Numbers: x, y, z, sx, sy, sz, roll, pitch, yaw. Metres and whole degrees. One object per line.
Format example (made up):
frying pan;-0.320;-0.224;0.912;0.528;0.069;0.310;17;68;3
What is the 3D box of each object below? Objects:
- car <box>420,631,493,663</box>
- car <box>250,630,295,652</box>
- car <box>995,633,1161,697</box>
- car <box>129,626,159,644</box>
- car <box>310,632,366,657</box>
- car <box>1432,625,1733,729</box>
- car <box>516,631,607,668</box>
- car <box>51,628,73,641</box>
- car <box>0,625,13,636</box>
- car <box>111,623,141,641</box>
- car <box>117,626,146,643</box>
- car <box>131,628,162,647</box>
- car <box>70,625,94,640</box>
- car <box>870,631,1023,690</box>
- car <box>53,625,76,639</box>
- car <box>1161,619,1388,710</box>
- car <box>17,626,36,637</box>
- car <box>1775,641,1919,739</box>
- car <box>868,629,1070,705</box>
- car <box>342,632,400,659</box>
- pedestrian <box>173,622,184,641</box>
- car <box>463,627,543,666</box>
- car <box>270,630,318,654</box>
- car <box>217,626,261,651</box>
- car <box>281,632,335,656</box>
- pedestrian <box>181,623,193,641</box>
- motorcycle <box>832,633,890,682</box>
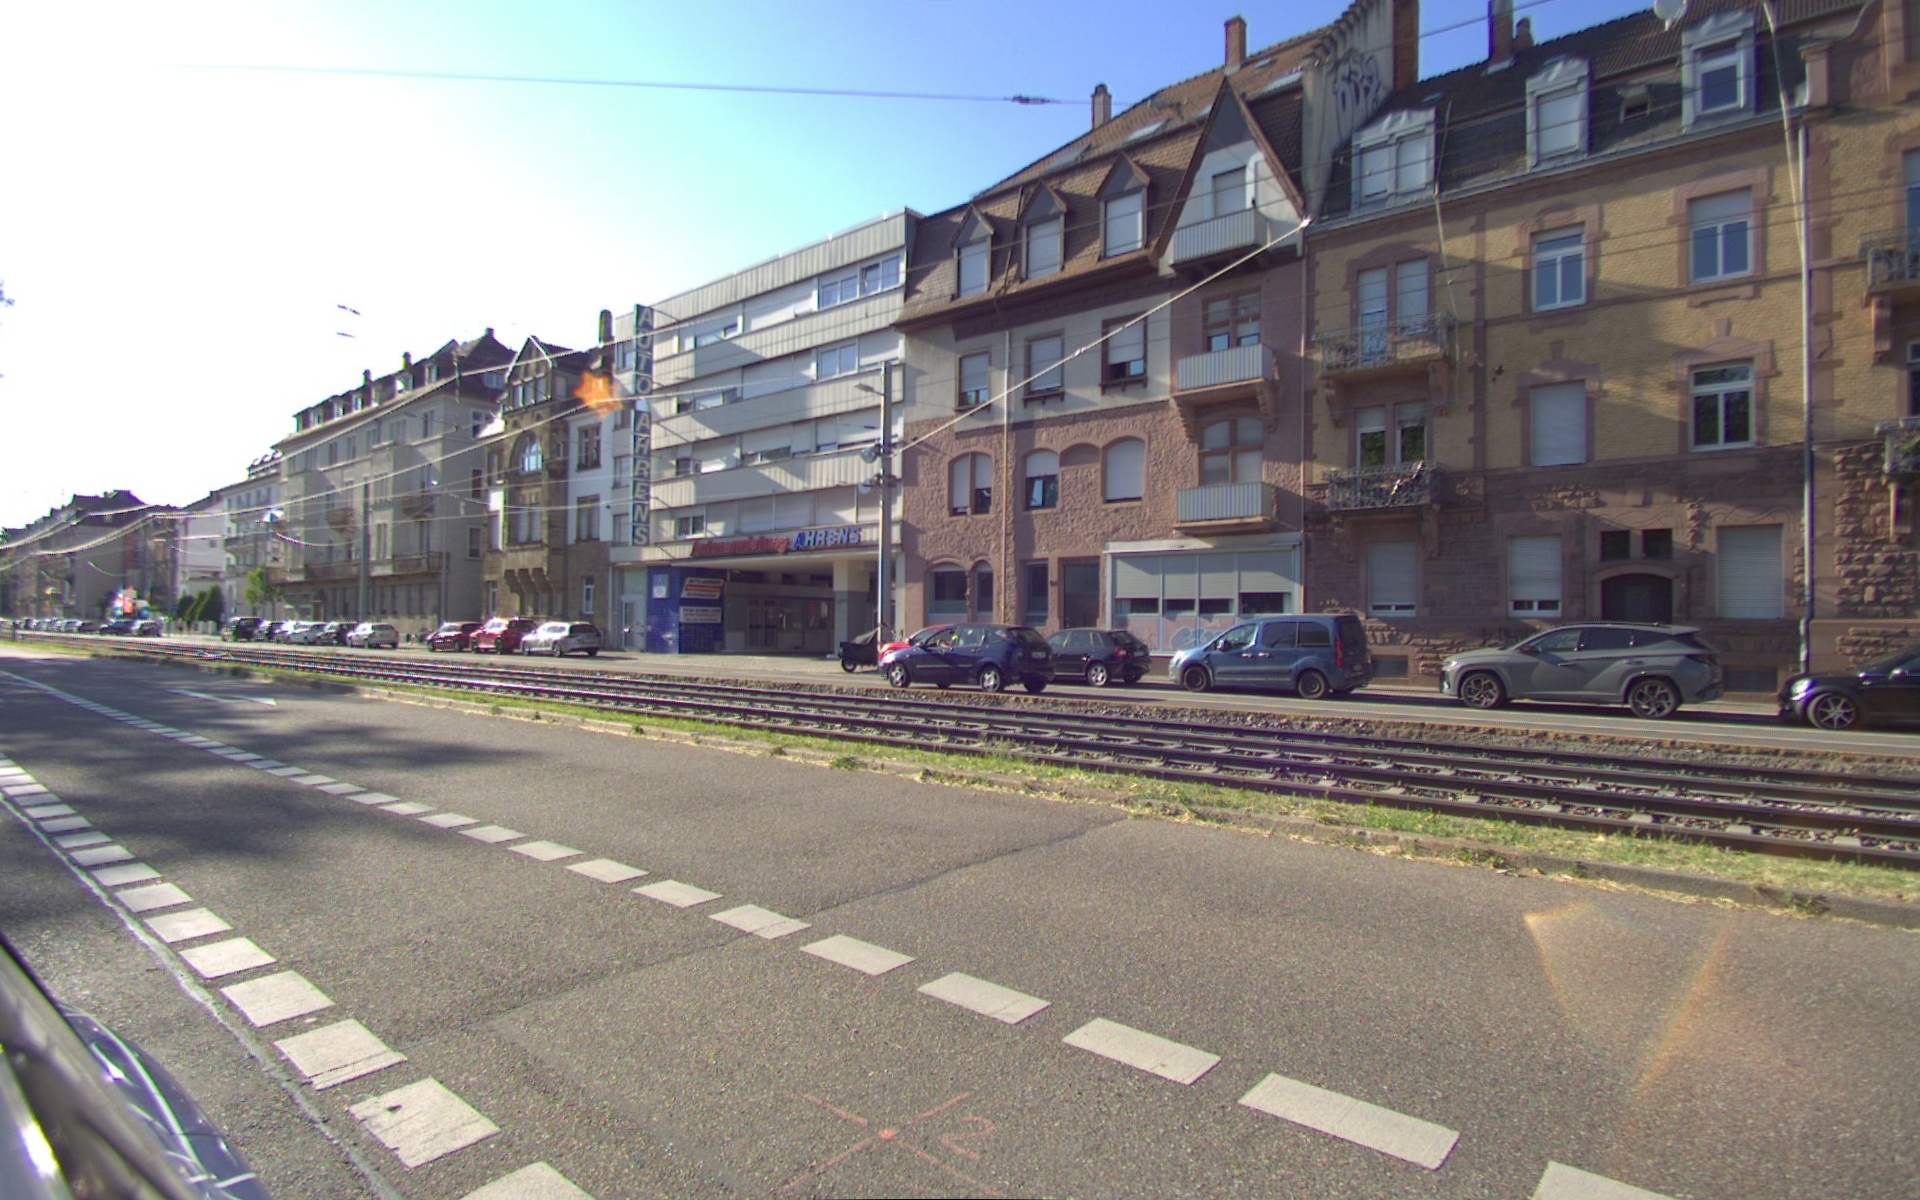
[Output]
car;-25.427;2.338;51.070;3.721;1.507;1.736;-1;-1;35
car;-49.299;2.910;72.564;3.821;1.490;1.779;-1;-1;41
car;2.969;1.603;25.929;3.925;1.448;1.678;-1;0;40
car;-77.855;3.331;96.582;3.386;1.583;1.663;-1;-1;41
car;-38.306;2.721;62.296;3.819;1.441;1.780;-1;-1;39
car;11.380;1.313;18.670;4.499;1.635;1.837;-1;0;40
car;-17.456;2.117;44.220;4.378;1.510;1.837;-1;-1;40
car;-112.455;4.270;126.766;3.448;1.602;1.603;-1;-1;41
car;-148.653;4.750;157.428;3.448;1.602;1.603;-1;-1;41
car;-85.525;3.259;103.748;3.878;1.800;1.705;-1;-1;41
car;-81.953;3.375;100.135;3.386;1.583;1.663;-1;-1;41
car;-74.323;3.435;92.463;3.406;1.644;1.656;-1;-1;41
car;-101.315;3.736;116.794;3.448;1.602;1.603;-1;-1;41
car;-0.444;1.678;29.206;4.207;1.510;1.837;-1;0;40
car;-108.429;3.855;122.556;3.448;1.602;1.603;-1;-1;41
car;6.901;1.343;22.494;4.418;1.772;1.865;-1;0;43
car;-134.527;4.511;145.805;3.448;1.602;1.603;-1;-1;41
car;14.913;1.363;15.529;3.723;1.365;1.606;-1;0;40
car;0.137;1.378;21.746;4.162;1.468;1.801;-1;-3;40
car;-34.307;2.604;58.908;3.821;1.490;1.779;-1;-1;41
pedestrian;-75.376;3.035;97.615;0.677;1.803;0.716;-1;-3;40
car;-21.565;2.145;47.697;4.261;1.700;1.836;-1;-1;42
car;-45.105;2.820;68.473;3.821;1.490;1.779;-1;-1;41
car;-53.902;2.864;75.634;3.913;1.750;1.851;-1;-1;41
car;-41.797;2.791;64.872;3.530;1.457;1.624;-1;-1;34
pedestrian;-74.940;3.093;98.107;0.677;1.803;0.716;-1;-3;40
motorcycle;-3.099;1.800;31.795;0.628;1.433;1.836;-2;-1;41
